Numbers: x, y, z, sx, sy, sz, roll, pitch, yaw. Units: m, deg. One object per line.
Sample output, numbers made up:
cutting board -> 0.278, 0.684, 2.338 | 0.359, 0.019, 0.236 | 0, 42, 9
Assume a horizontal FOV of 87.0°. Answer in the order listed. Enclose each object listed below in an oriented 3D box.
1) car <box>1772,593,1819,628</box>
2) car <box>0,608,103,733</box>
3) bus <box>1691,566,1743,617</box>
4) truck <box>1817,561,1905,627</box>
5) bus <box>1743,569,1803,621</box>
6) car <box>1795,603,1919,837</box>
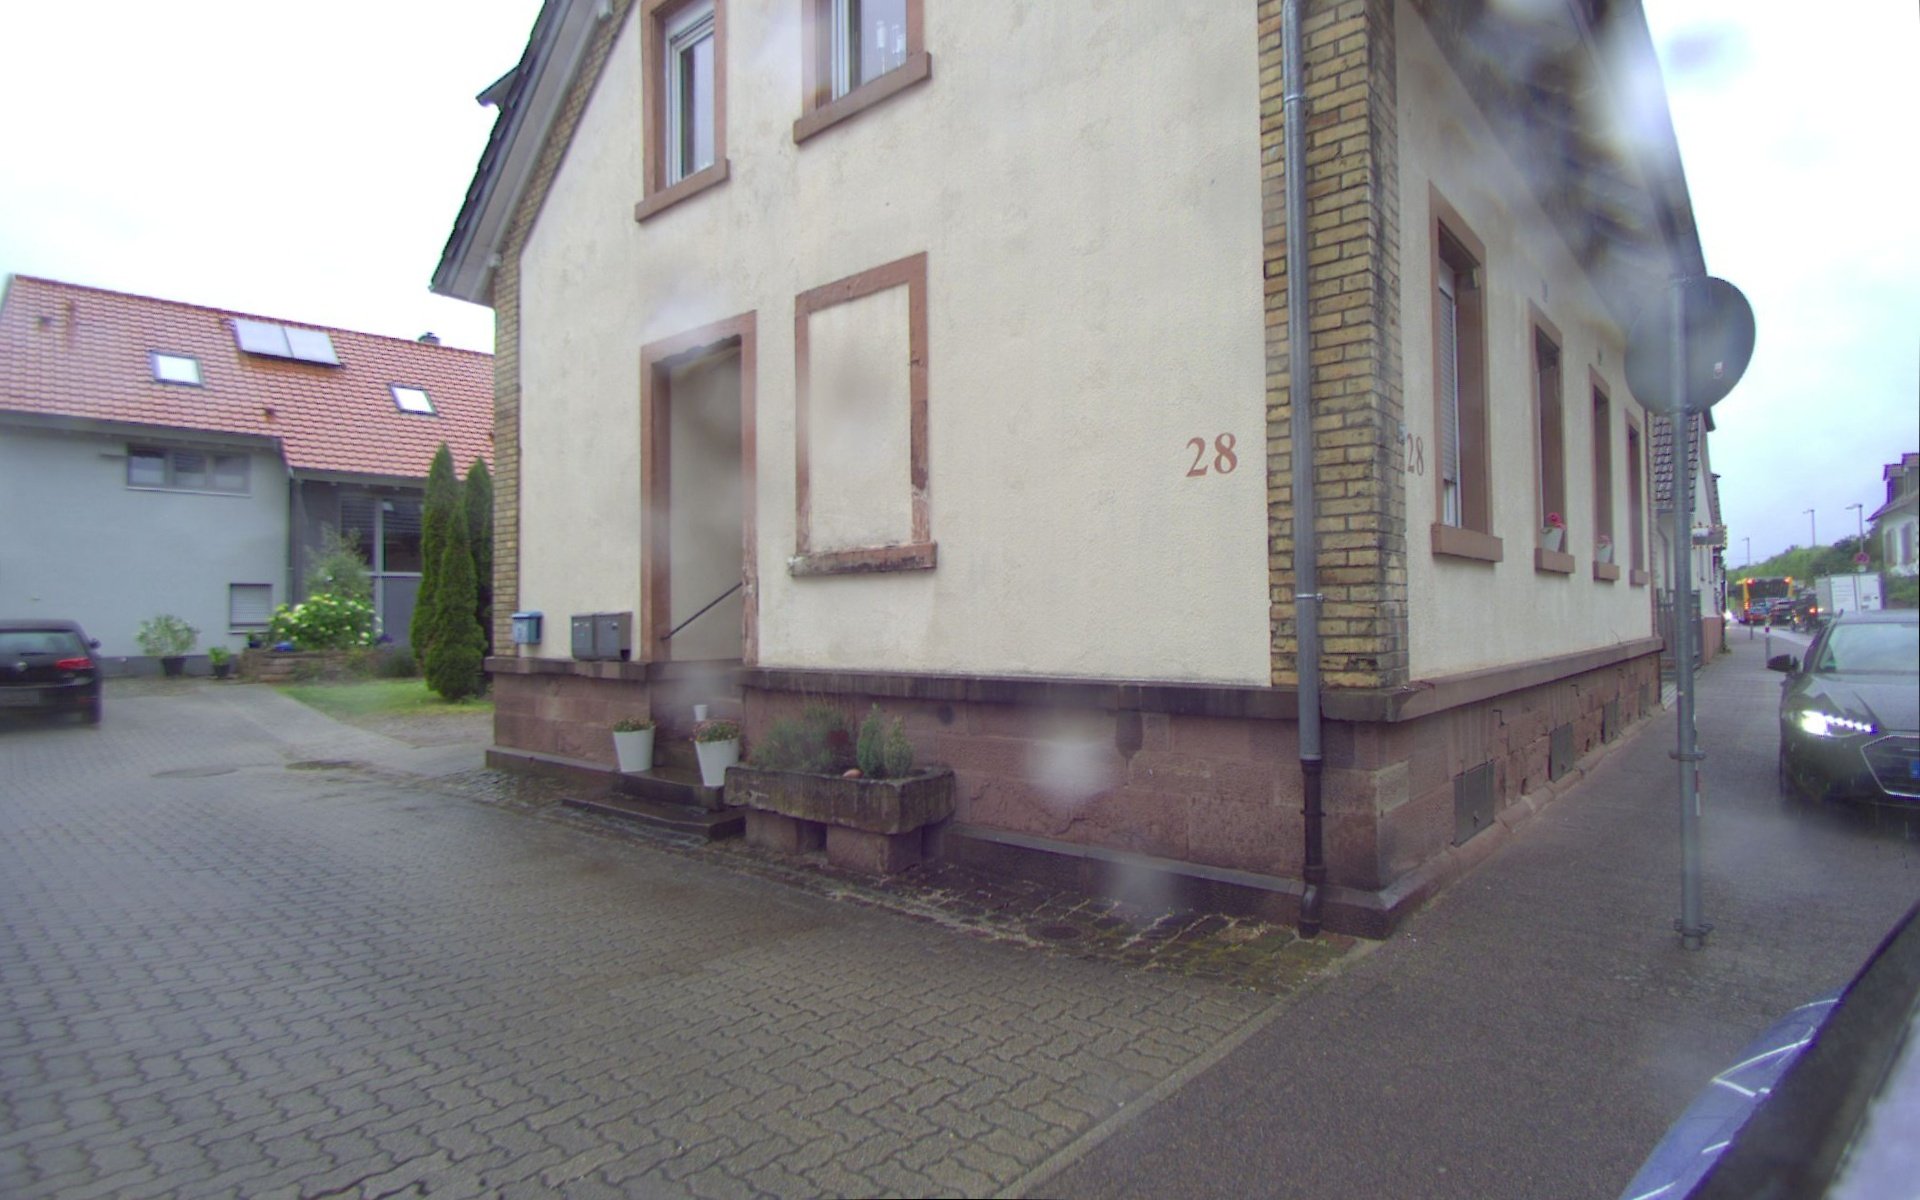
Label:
car -> 45.881, 0.551, 55.603 | 1.793, 1.839, 3.947 | 0, 0, 37
car -> -13.948, 0.956, 15.106 | 1.655, 1.491, 3.993 | 0, 2, -42
bus -> 52.743, -0.584, 70.647 | 2.654, 3.273, 12.032 | 0, 0, 36
truck -> 37.053, -0.258, 41.779 | 1.987, 2.536, 5.581 | 0, 0, 34
bus -> 55.458, -0.399, 69.228 | 2.654, 3.273, 12.032 | 0, 0, 36
car -> 7.366, 0.736, 7.536 | 1.732, 1.388, 4.044 | 0, 0, 39
